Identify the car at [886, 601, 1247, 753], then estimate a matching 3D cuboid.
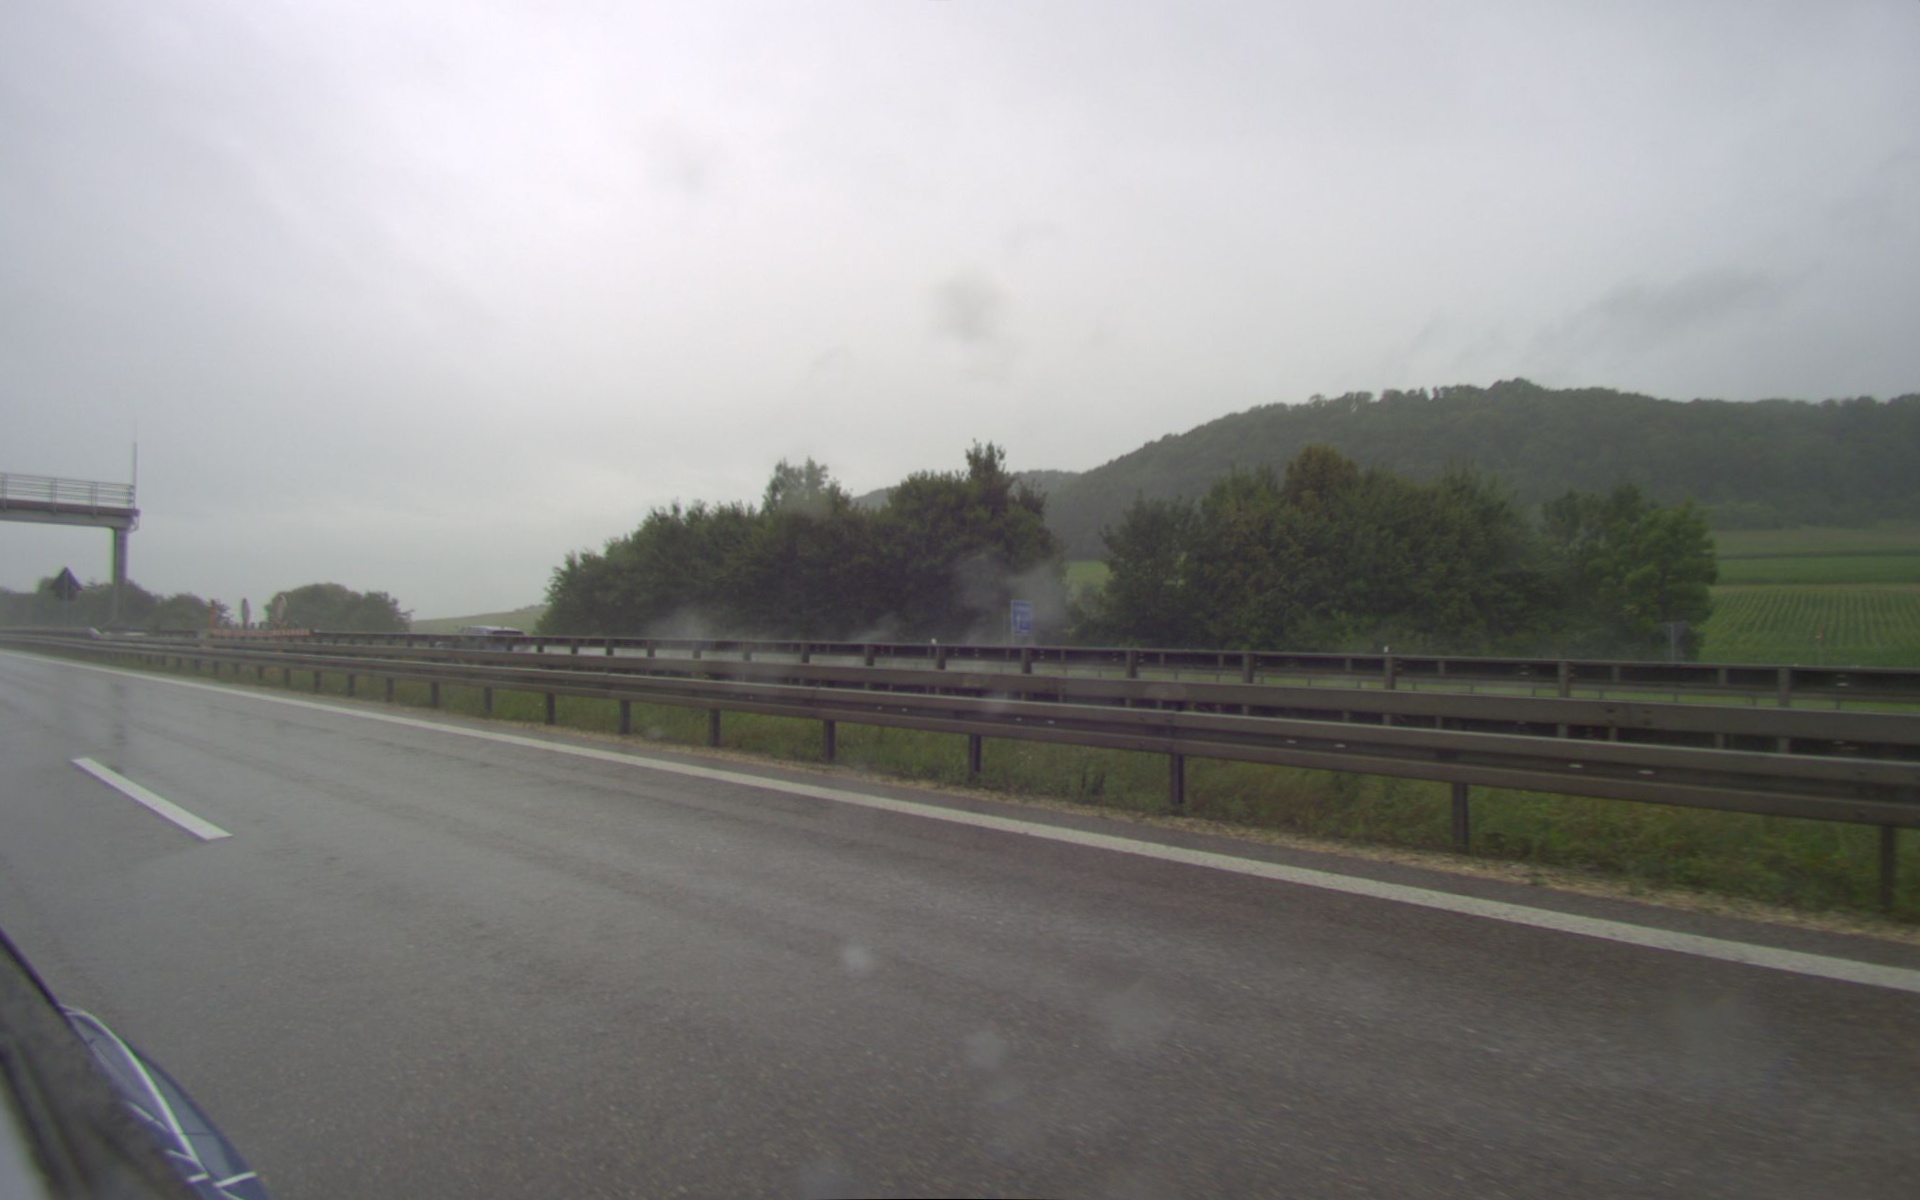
[{"bbox_3d":[1.712,1.201,17.996,5.995,2.245,2.599,-1,-1,41],"label":"car"}]
